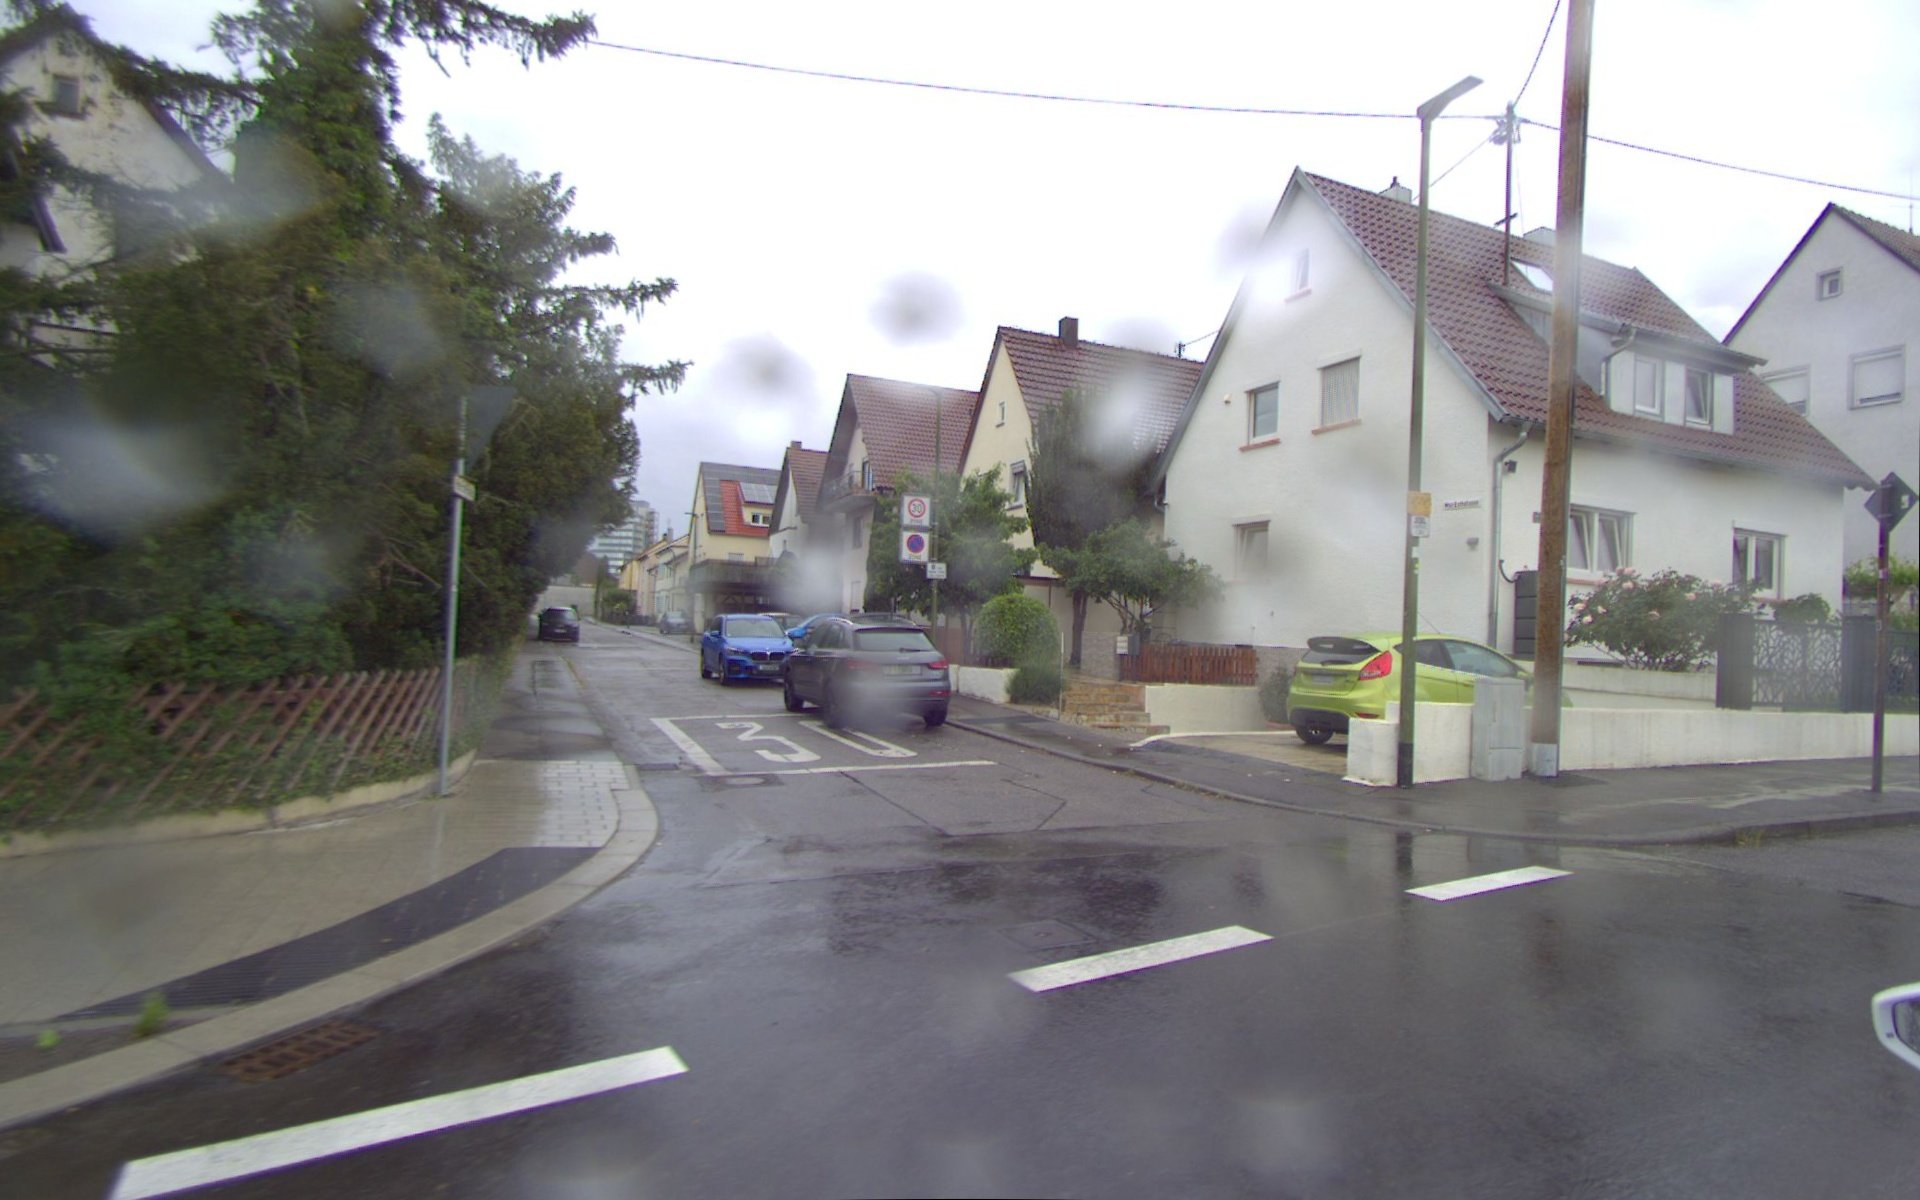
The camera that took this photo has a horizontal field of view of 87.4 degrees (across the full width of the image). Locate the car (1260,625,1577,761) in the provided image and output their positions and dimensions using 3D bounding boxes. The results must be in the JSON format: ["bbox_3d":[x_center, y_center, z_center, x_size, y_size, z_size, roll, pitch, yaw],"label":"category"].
[{"bbox_3d":[5.749,1.136,12.651,3.407,1.486,1.775,3,-1,-22],"label":"car"}]

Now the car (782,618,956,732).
[{"bbox_3d":[-1.563,1.075,15.868,1.758,1.486,3.837,1,0,-21],"label":"car"}]

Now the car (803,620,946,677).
[{"bbox_3d":[-2.603,1.436,30.331,3.876,1.598,2.011,1,0,-23],"label":"car"}]

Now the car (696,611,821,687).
[{"bbox_3d":[-4.885,1.110,23.944,1.901,1.595,3.986,2,0,-27],"label":"car"}]

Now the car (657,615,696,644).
[{"bbox_3d":[-18.233,1.907,64.575,1.971,1.739,3.980,1,-3,-22],"label":"car"}]

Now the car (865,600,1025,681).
[{"bbox_3d":[-0.420,1.098,27.491,3.878,2.040,2.002,2,1,-24],"label":"car"}]
